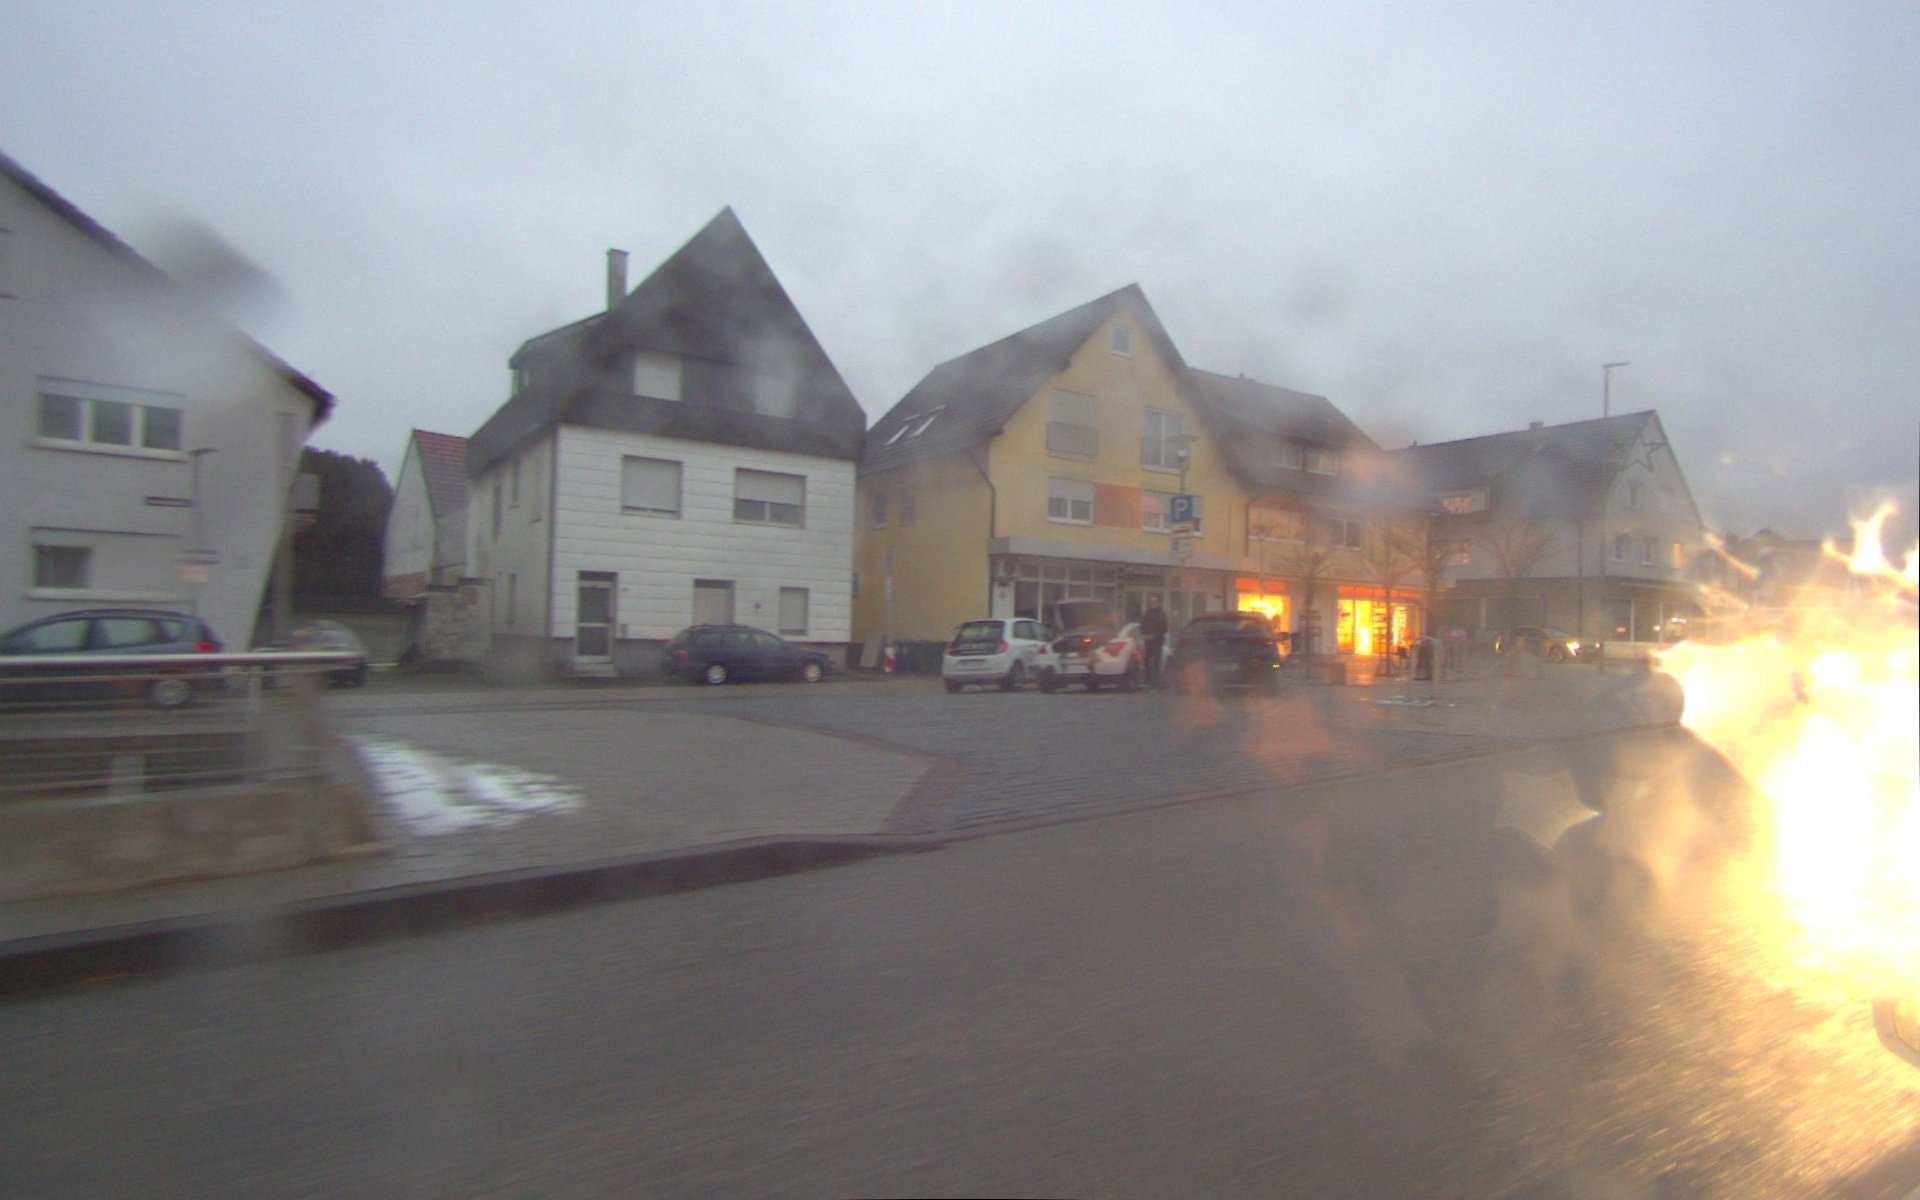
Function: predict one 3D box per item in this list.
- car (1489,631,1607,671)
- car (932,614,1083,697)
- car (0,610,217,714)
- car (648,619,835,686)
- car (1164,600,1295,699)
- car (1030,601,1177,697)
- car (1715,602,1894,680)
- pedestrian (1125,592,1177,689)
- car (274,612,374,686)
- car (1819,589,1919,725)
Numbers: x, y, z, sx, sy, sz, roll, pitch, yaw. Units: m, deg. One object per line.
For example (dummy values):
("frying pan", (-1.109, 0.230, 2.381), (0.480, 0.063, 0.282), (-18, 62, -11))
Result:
("car", (23.863, 2.048, 40.878), (1.694, 1.440, 3.814), (4, -2, -27))
("car", (1.147, 1.184, 22.091), (1.733, 1.652, 3.994), (-2, -2, 29))
("car", (-14.867, 0.985, 16.667), (4.056, 1.590, 1.761), (2, -1, -37))
("car", (-5.657, 1.305, 26.211), (4.376, 1.520, 1.899), (1, 2, -34))
("car", (5.020, 0.853, 18.324), (1.877, 1.551, 4.180), (1, -1, 21))
("car", (2.919, 0.942, 19.760), (1.806, 1.692, 3.894), (-2, -2, 25))
("car", (24.504, 1.143, 29.424), (1.959, 2.040, 4.903), (1, -1, 13))
("pedestrian", (3.499, 0.740, 18.390), (0.825, 1.734, 0.724), (-1, -2, 19))
("car", (-16.065, 1.287, 25.284), (1.703, 1.704, 3.958), (4, -5, -38))
("car", (14.240, 0.823, 15.261), (1.700, 1.837, 4.114), (1, -1, 42))
